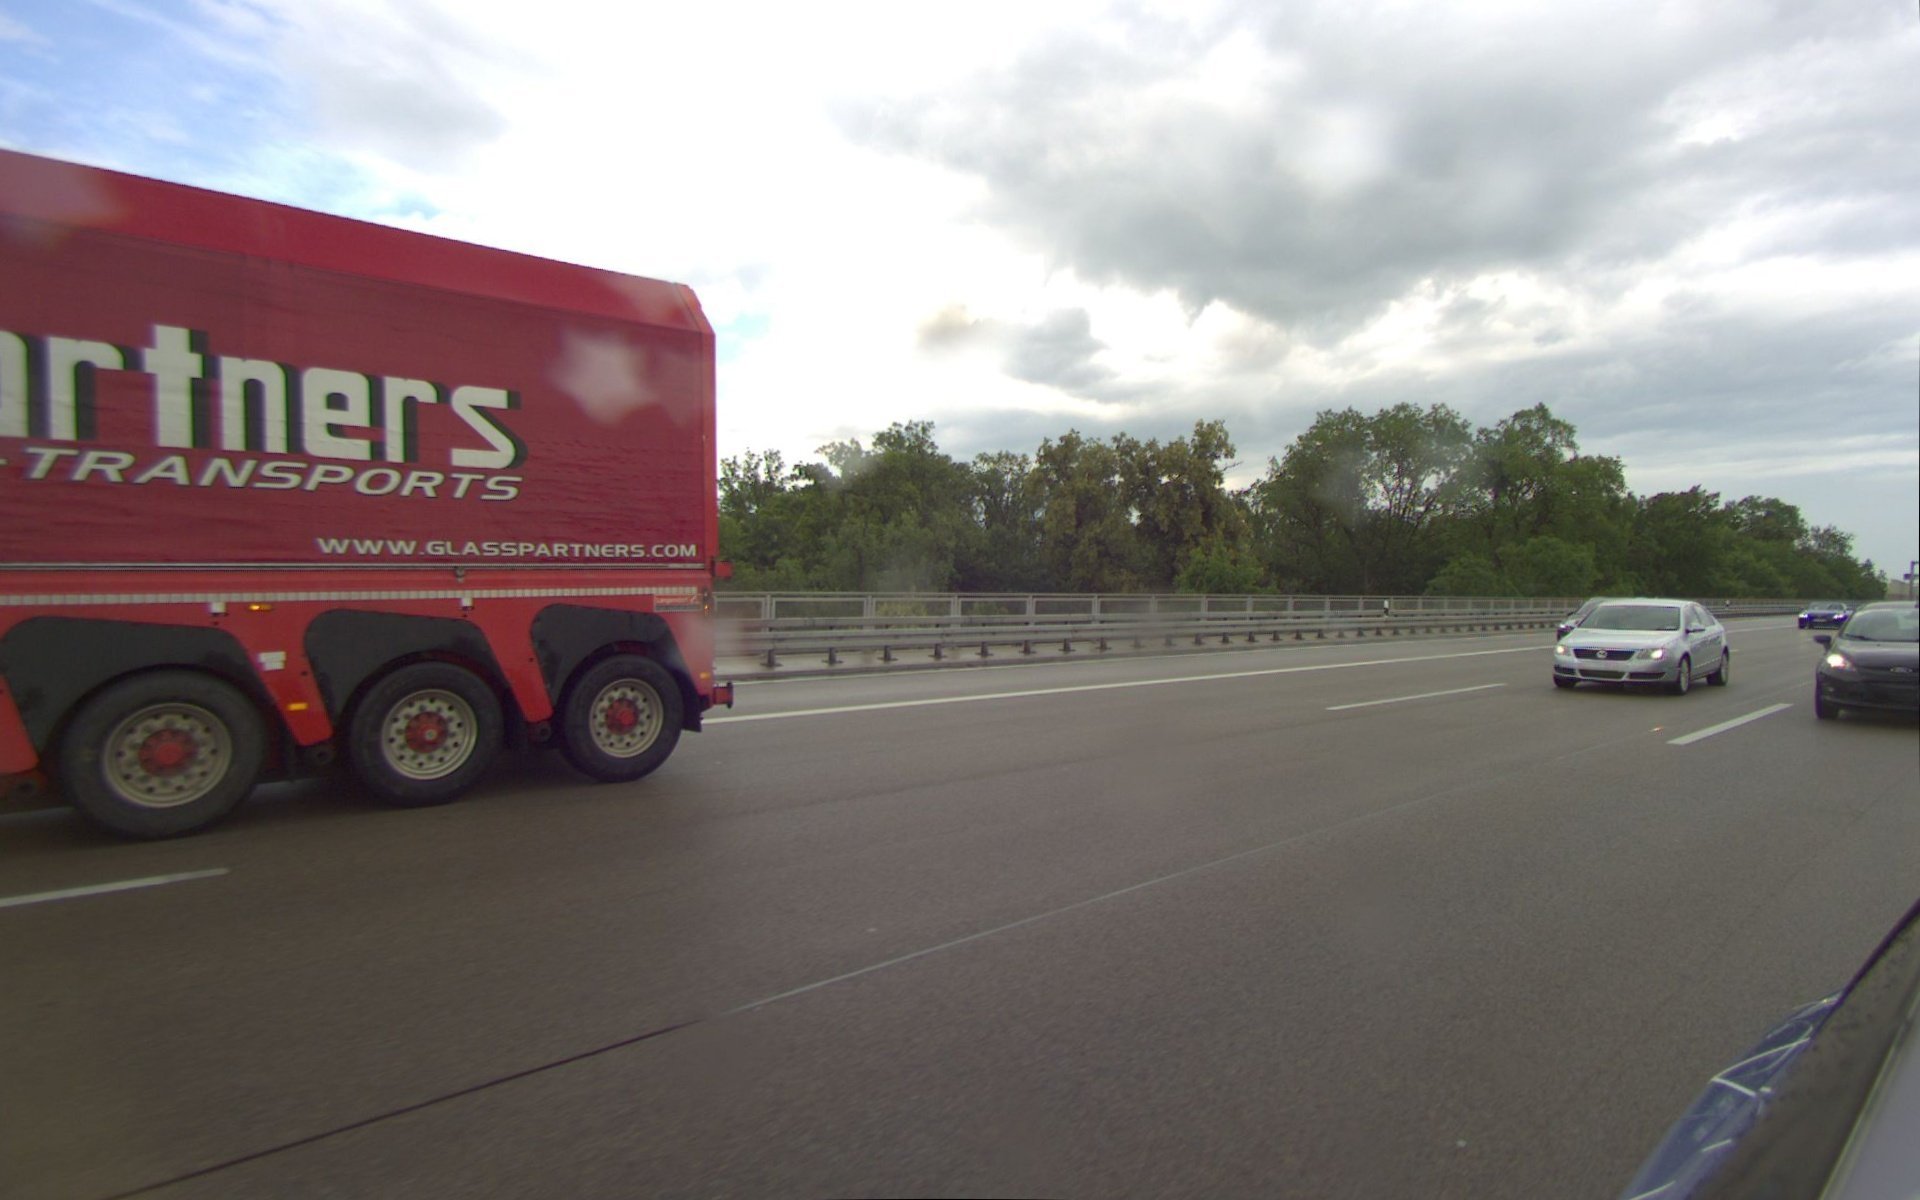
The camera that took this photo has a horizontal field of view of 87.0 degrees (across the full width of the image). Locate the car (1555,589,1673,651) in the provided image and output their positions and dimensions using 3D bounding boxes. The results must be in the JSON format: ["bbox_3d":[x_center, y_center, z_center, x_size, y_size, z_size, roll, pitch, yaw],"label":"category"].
[{"bbox_3d":[18.238,0.510,28.145,4.285,1.562,1.816,0,0,-44],"label":"car"}]

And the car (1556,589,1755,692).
[{"bbox_3d":[11.517,0.583,16.649,4.175,1.465,1.895,0,0,-44],"label":"car"}]

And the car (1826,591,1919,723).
[{"bbox_3d":[12.323,0.627,12.762,4.331,1.458,1.665,-1,1,-43],"label":"car"}]

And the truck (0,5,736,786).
[{"bbox_3d":[-8.570,-1.090,4.161,15.366,4.054,3.157,0,0,-42],"label":"truck"}]

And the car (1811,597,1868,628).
[{"bbox_3d":[44.303,0.626,50.953,4.511,1.465,1.778,0,0,-44],"label":"car"}]
